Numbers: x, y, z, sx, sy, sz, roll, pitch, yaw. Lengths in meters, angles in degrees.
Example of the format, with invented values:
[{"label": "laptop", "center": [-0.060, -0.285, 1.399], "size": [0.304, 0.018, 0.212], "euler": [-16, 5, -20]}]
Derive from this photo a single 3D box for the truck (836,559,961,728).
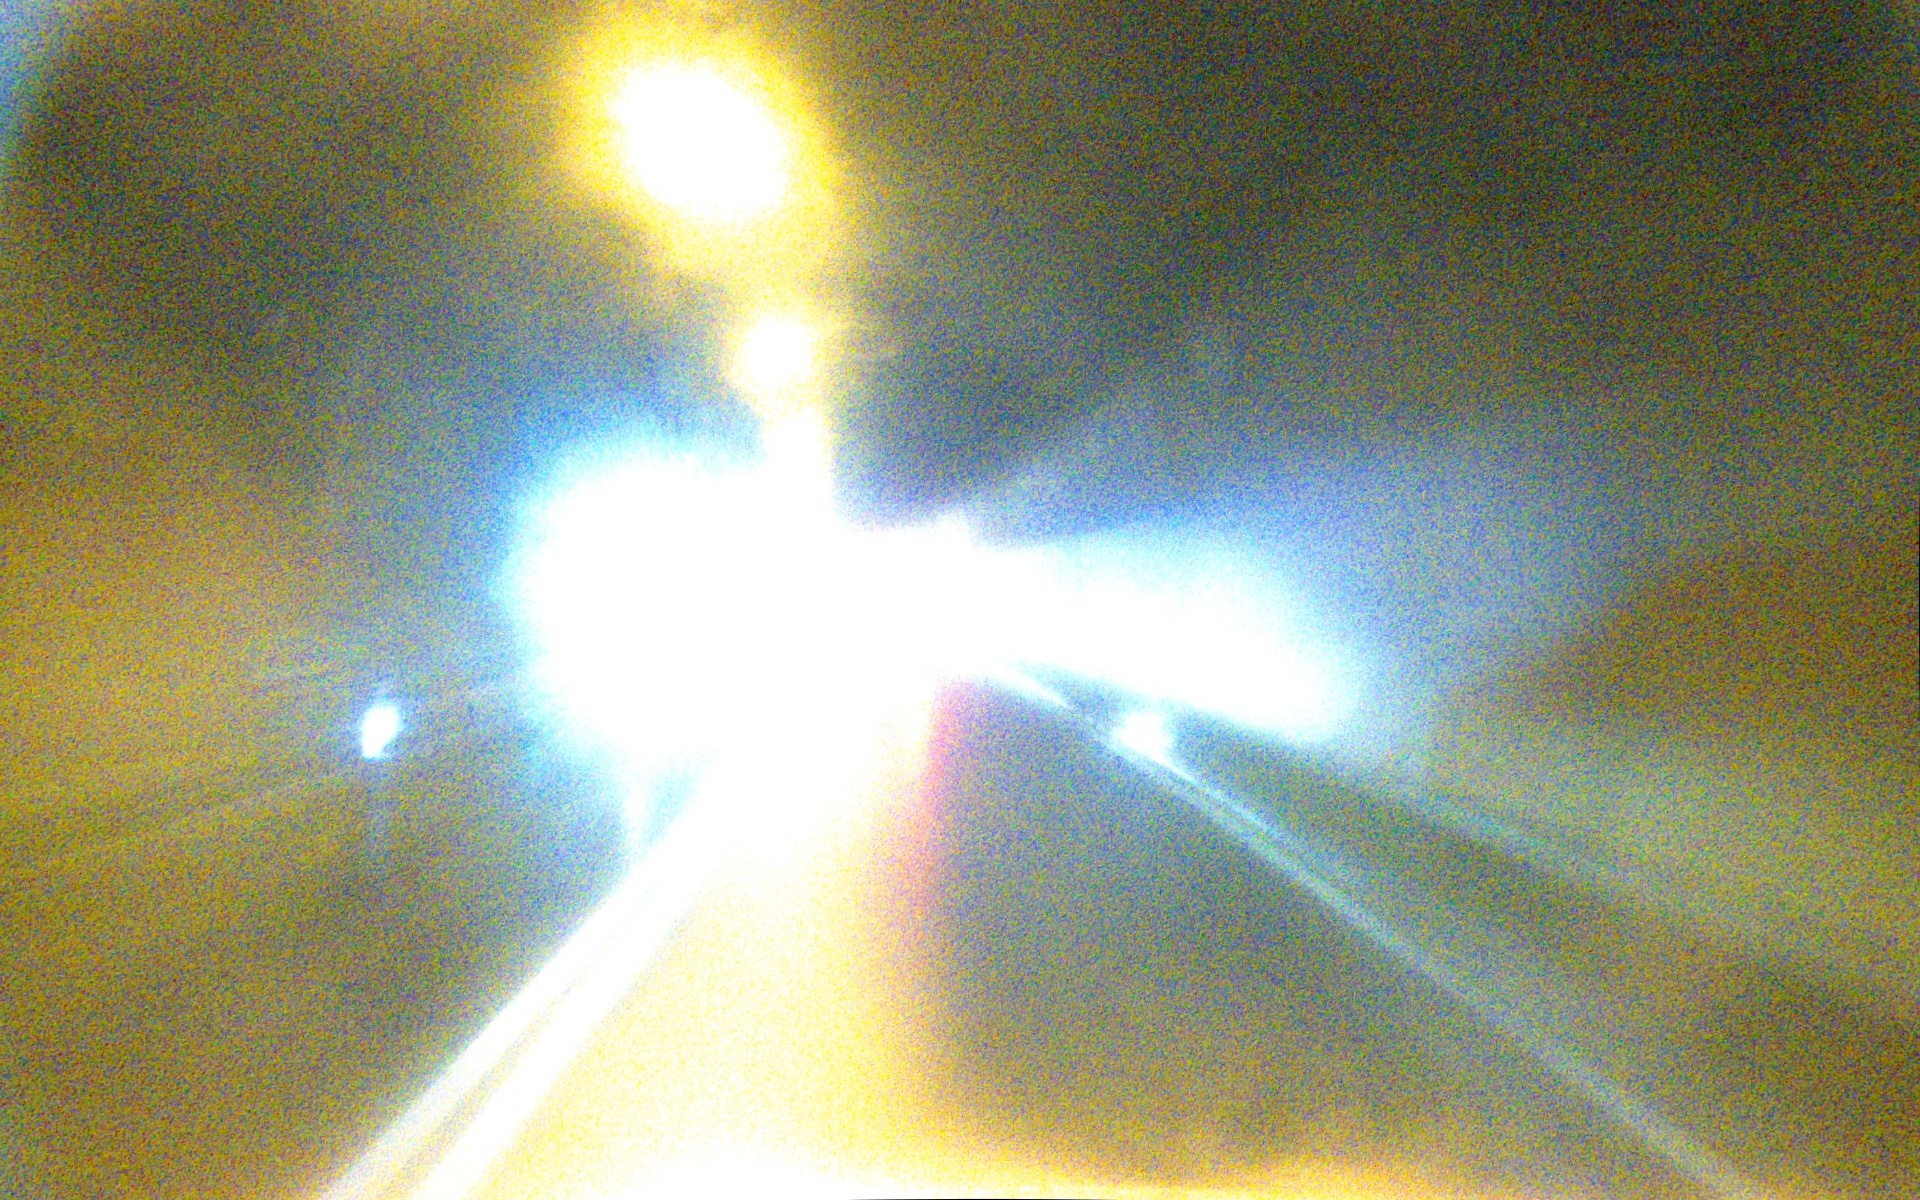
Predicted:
[{"label": "truck", "center": [-1.364, 0.803, 34.201], "size": [2.217, 3.063, 7.409], "euler": [2, 0, -4]}]
